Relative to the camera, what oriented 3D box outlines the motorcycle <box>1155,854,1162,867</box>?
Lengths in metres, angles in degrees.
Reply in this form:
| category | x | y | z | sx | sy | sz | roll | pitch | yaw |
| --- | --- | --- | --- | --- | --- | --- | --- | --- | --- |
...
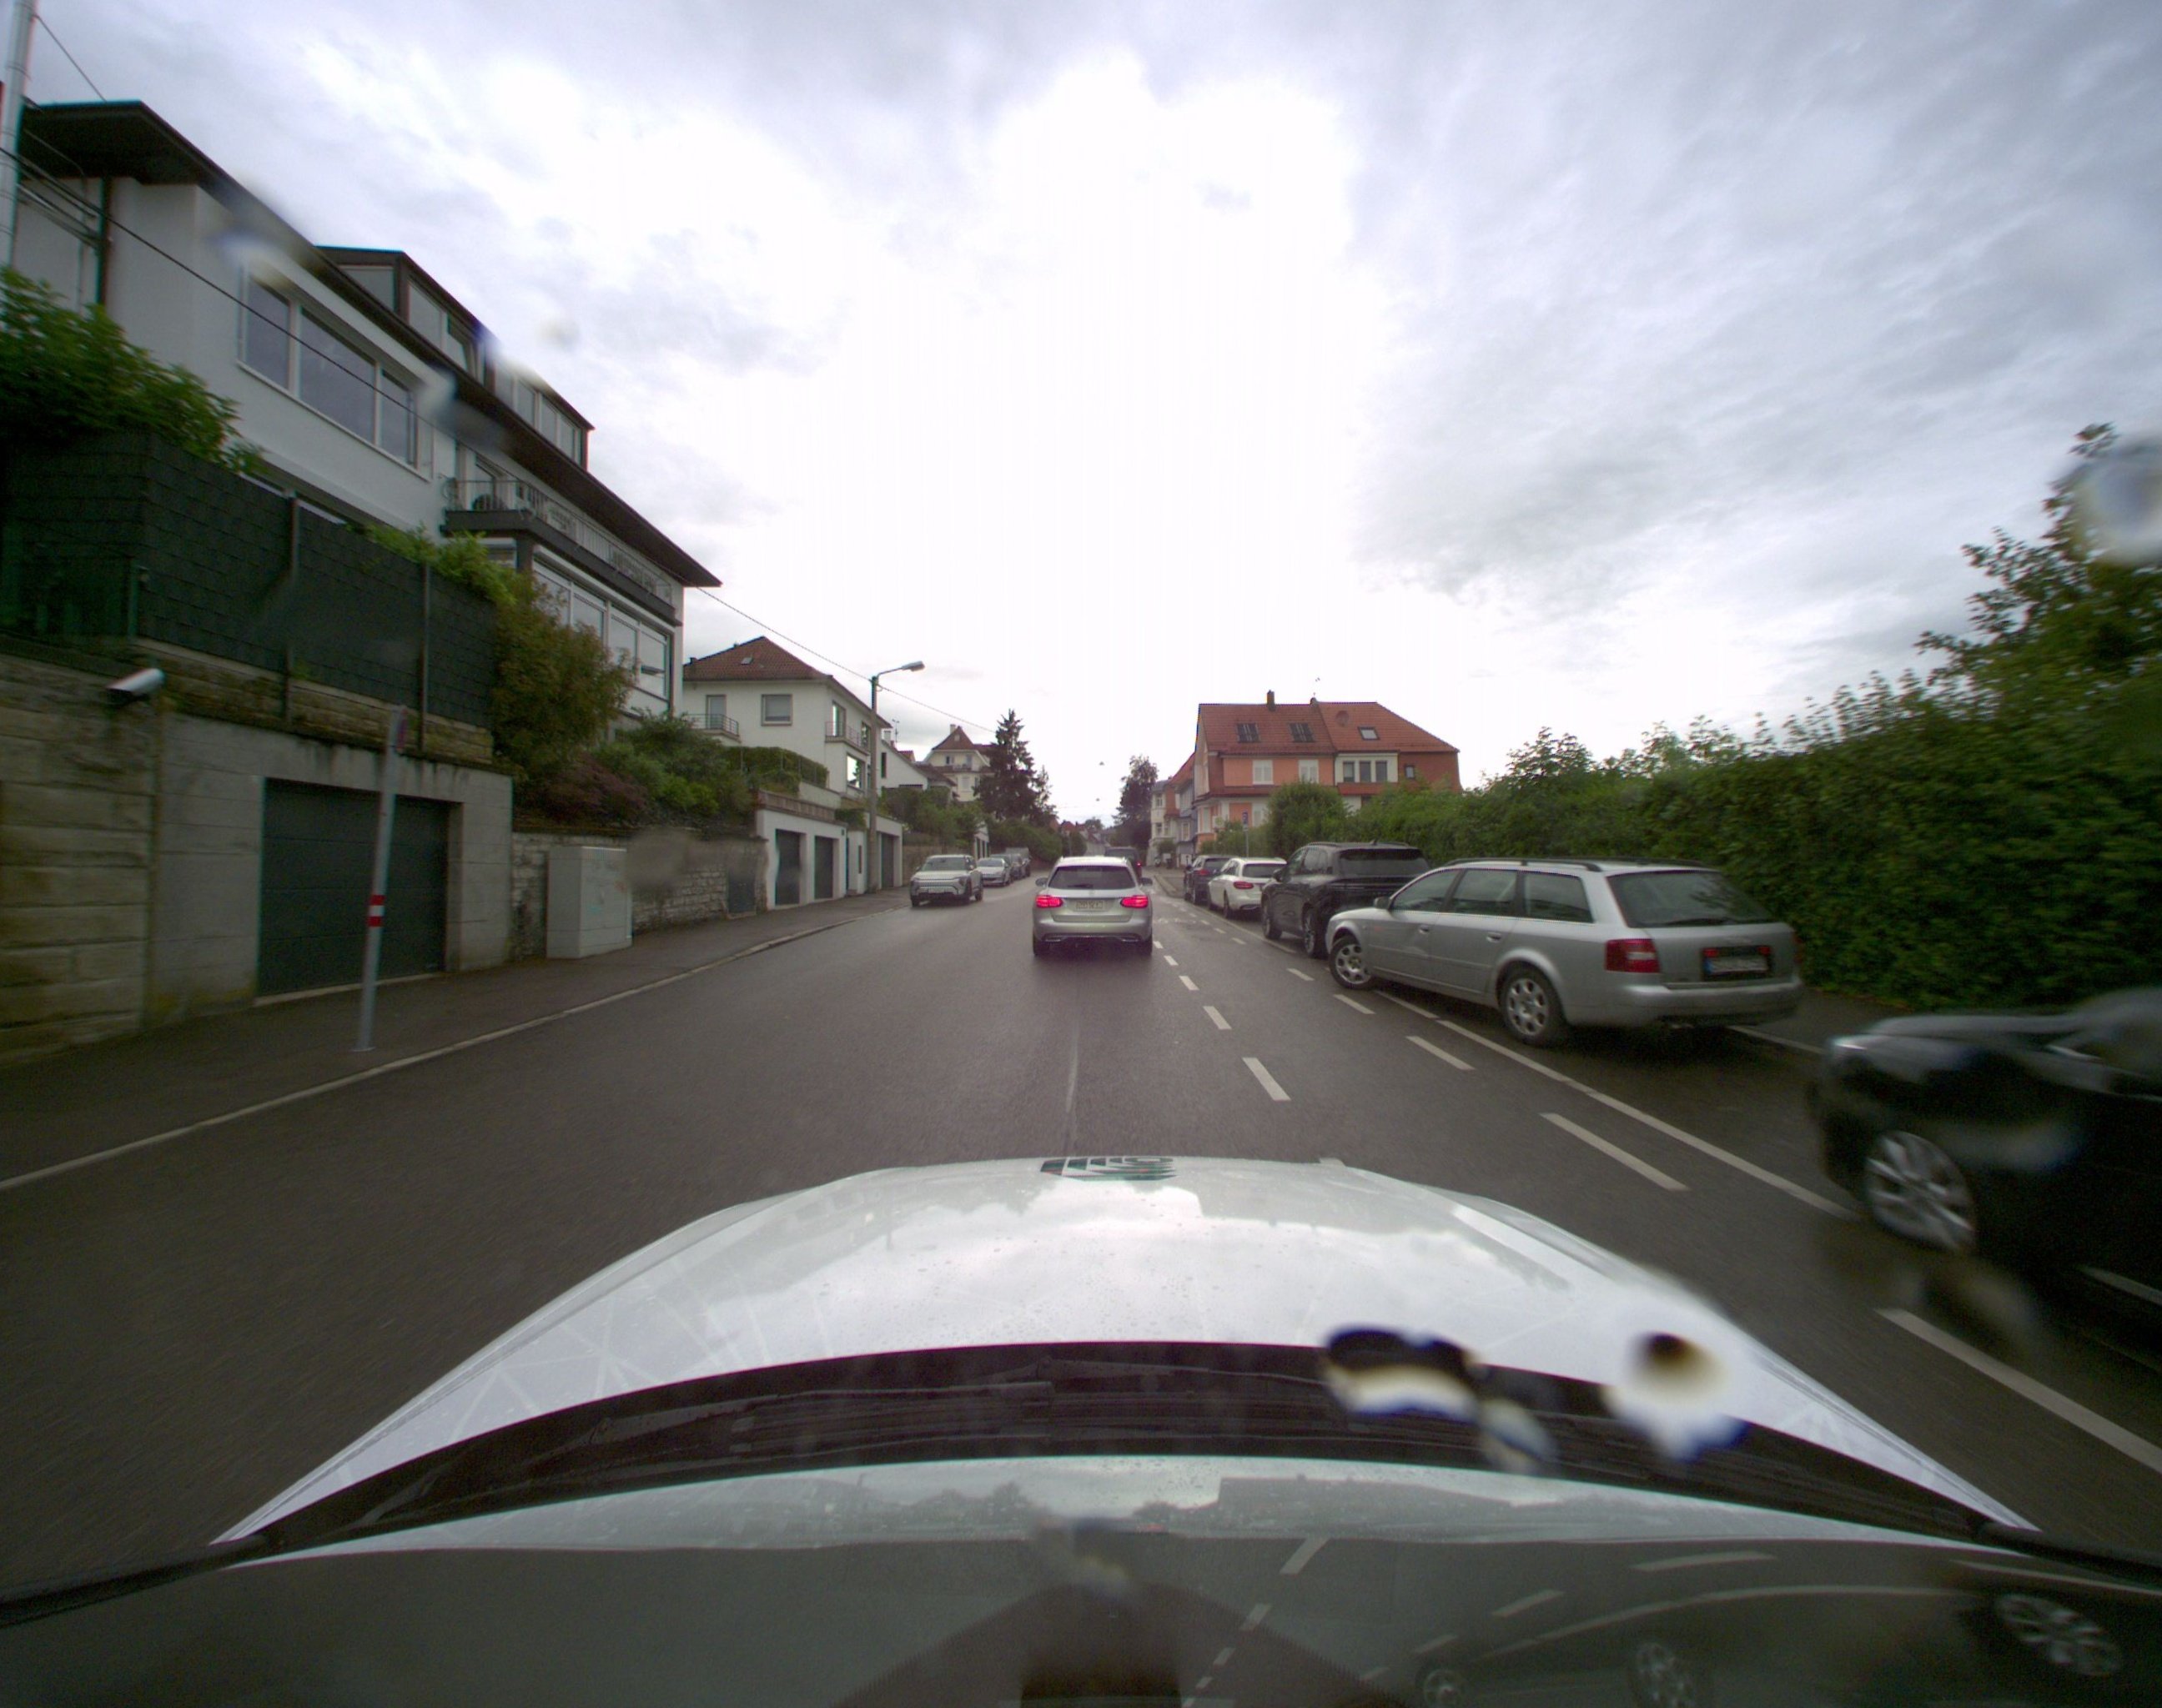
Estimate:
| category | x | y | z | sx | sy | sz | roll | pitch | yaw |
| --- | --- | --- | --- | --- | --- | --- | --- | --- | --- |
| motorcycle | 7.553 | 0.630 | 79.530 | 0.579 | 1.261 | 2.334 | -3 | 0 | 4 |

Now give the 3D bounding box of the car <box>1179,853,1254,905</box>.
| category | x | y | z | sx | sy | sz | roll | pitch | yaw |
| --- | --- | --- | --- | --- | --- | --- | --- | --- | --- |
| car | 4.229 | 0.753 | 26.020 | 1.748 | 1.530 | 4.206 | 0 | 0 | 0 |

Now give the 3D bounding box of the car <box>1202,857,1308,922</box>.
| category | x | y | z | sx | sy | sz | roll | pitch | yaw |
| --- | --- | --- | --- | --- | --- | --- | --- | --- | --- |
| car | 4.224 | 0.803 | 20.466 | 1.707 | 1.405 | 4.608 | 0 | 0 | 0 |

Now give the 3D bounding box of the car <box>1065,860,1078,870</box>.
| category | x | y | z | sx | sy | sz | roll | pitch | yaw |
| --- | --- | --- | --- | --- | --- | --- | --- | --- | --- |
| car | -1.481 | 1.731 | 129.042 | 2.110 | 1.471 | 4.016 | 0 | 0 | 0 |

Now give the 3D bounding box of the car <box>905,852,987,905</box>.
| category | x | y | z | sx | sy | sz | roll | pitch | yaw |
| --- | --- | --- | --- | --- | --- | --- | --- | --- | --- |
| car | -4.381 | 0.738 | 27.020 | 1.891 | 1.567 | 4.239 | -1 | 0 | 1 |

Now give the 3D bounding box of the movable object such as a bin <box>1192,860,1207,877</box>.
| category | x | y | z | sx | sy | sz | roll | pitch | yaw |
| --- | --- | --- | --- | --- | --- | --- | --- | --- | --- |
| movable object such as a bin | 7.039 | 0.855 | 48.411 | 0.573 | 0.969 | 0.663 | 1 | 0 | -31 |

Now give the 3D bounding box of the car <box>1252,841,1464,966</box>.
| category | x | y | z | sx | sy | sz | roll | pitch | yaw |
| --- | --- | --- | --- | --- | --- | --- | --- | --- | --- |
| car | 4.185 | 0.659 | 13.181 | 1.881 | 1.662 | 4.547 | 0 | 0 | 0 |

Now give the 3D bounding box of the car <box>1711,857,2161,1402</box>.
| category | x | y | z | sx | sy | sz | roll | pitch | yaw |
| --- | --- | --- | --- | --- | --- | --- | --- | --- | --- |
| car | 3.694 | 0.732 | 1.749 | 1.682 | 1.422 | 3.985 | -1 | 0 | 2 |

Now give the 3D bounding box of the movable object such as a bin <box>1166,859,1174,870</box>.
| category | x | y | z | sx | sy | sz | roll | pitch | yaw |
| --- | --- | --- | --- | --- | --- | --- | --- | --- | --- |
| movable object such as a bin | 7.630 | 0.903 | 70.031 | 0.547 | 0.936 | 0.634 | -4 | 0 | 1 |

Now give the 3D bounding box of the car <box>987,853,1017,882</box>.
| category | x | y | z | sx | sy | sz | roll | pitch | yaw |
| --- | --- | --- | --- | --- | --- | --- | --- | --- | --- |
| car | -4.297 | 0.717 | 44.743 | 1.493 | 1.524 | 3.155 | 0 | 0 | -3 |

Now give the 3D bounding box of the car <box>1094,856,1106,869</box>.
| category | x | y | z | sx | sy | sz | roll | pitch | yaw |
| --- | --- | --- | --- | --- | --- | --- | --- | --- | --- |
| car | 3.878 | 1.787 | 166.302 | 2.458 | 2.400 | 4.001 | -4 | 0 | 1 |

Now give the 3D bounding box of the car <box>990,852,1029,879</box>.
| category | x | y | z | sx | sy | sz | roll | pitch | yaw |
| --- | --- | --- | --- | --- | --- | --- | --- | --- | --- |
| car | -4.260 | 0.640 | 49.249 | 1.891 | 1.515 | 4.343 | 1 | 0 | 1 |

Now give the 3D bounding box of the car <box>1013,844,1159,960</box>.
| category | x | y | z | sx | sy | sz | roll | pitch | yaw |
| --- | --- | --- | --- | --- | --- | --- | --- | --- | --- |
| car | 0.162 | 0.637 | 13.195 | 1.975 | 1.553 | 4.300 | 0 | 0 | 2 |

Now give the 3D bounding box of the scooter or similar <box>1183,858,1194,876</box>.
| category | x | y | z | sx | sy | sz | roll | pitch | yaw |
| --- | --- | --- | --- | --- | --- | --- | --- | --- | --- |
| scooter or similar | 7.657 | 0.900 | 58.038 | 0.688 | 1.224 | 1.302 | 0 | 0 | 9 |

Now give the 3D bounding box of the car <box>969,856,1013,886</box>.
| category | x | y | z | sx | sy | sz | roll | pitch | yaw |
| --- | --- | --- | --- | --- | --- | --- | --- | --- | --- |
| car | -4.348 | 0.791 | 39.771 | 1.604 | 1.337 | 3.842 | 0 | 0 | 1 |

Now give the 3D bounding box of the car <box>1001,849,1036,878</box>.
| category | x | y | z | sx | sy | sz | roll | pitch | yaw |
| --- | --- | --- | --- | --- | --- | --- | --- | --- | --- |
| car | -4.175 | 0.585 | 55.264 | 2.124 | 1.860 | 5.588 | 0 | 0 | -3 |

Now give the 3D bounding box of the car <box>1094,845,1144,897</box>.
| category | x | y | z | sx | sy | sz | roll | pitch | yaw |
| --- | --- | --- | --- | --- | --- | --- | --- | --- | --- |
| car | 1.607 | 0.654 | 33.994 | 1.816 | 1.882 | 4.099 | -4 | 1 | 4 |

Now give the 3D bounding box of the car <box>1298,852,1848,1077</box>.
| category | x | y | z | sx | sy | sz | roll | pitch | yaw |
| --- | --- | --- | --- | --- | --- | --- | --- | --- | --- |
| car | 3.996 | 0.710 | 7.756 | 1.801 | 1.440 | 4.622 | 0 | 0 | -13 |
